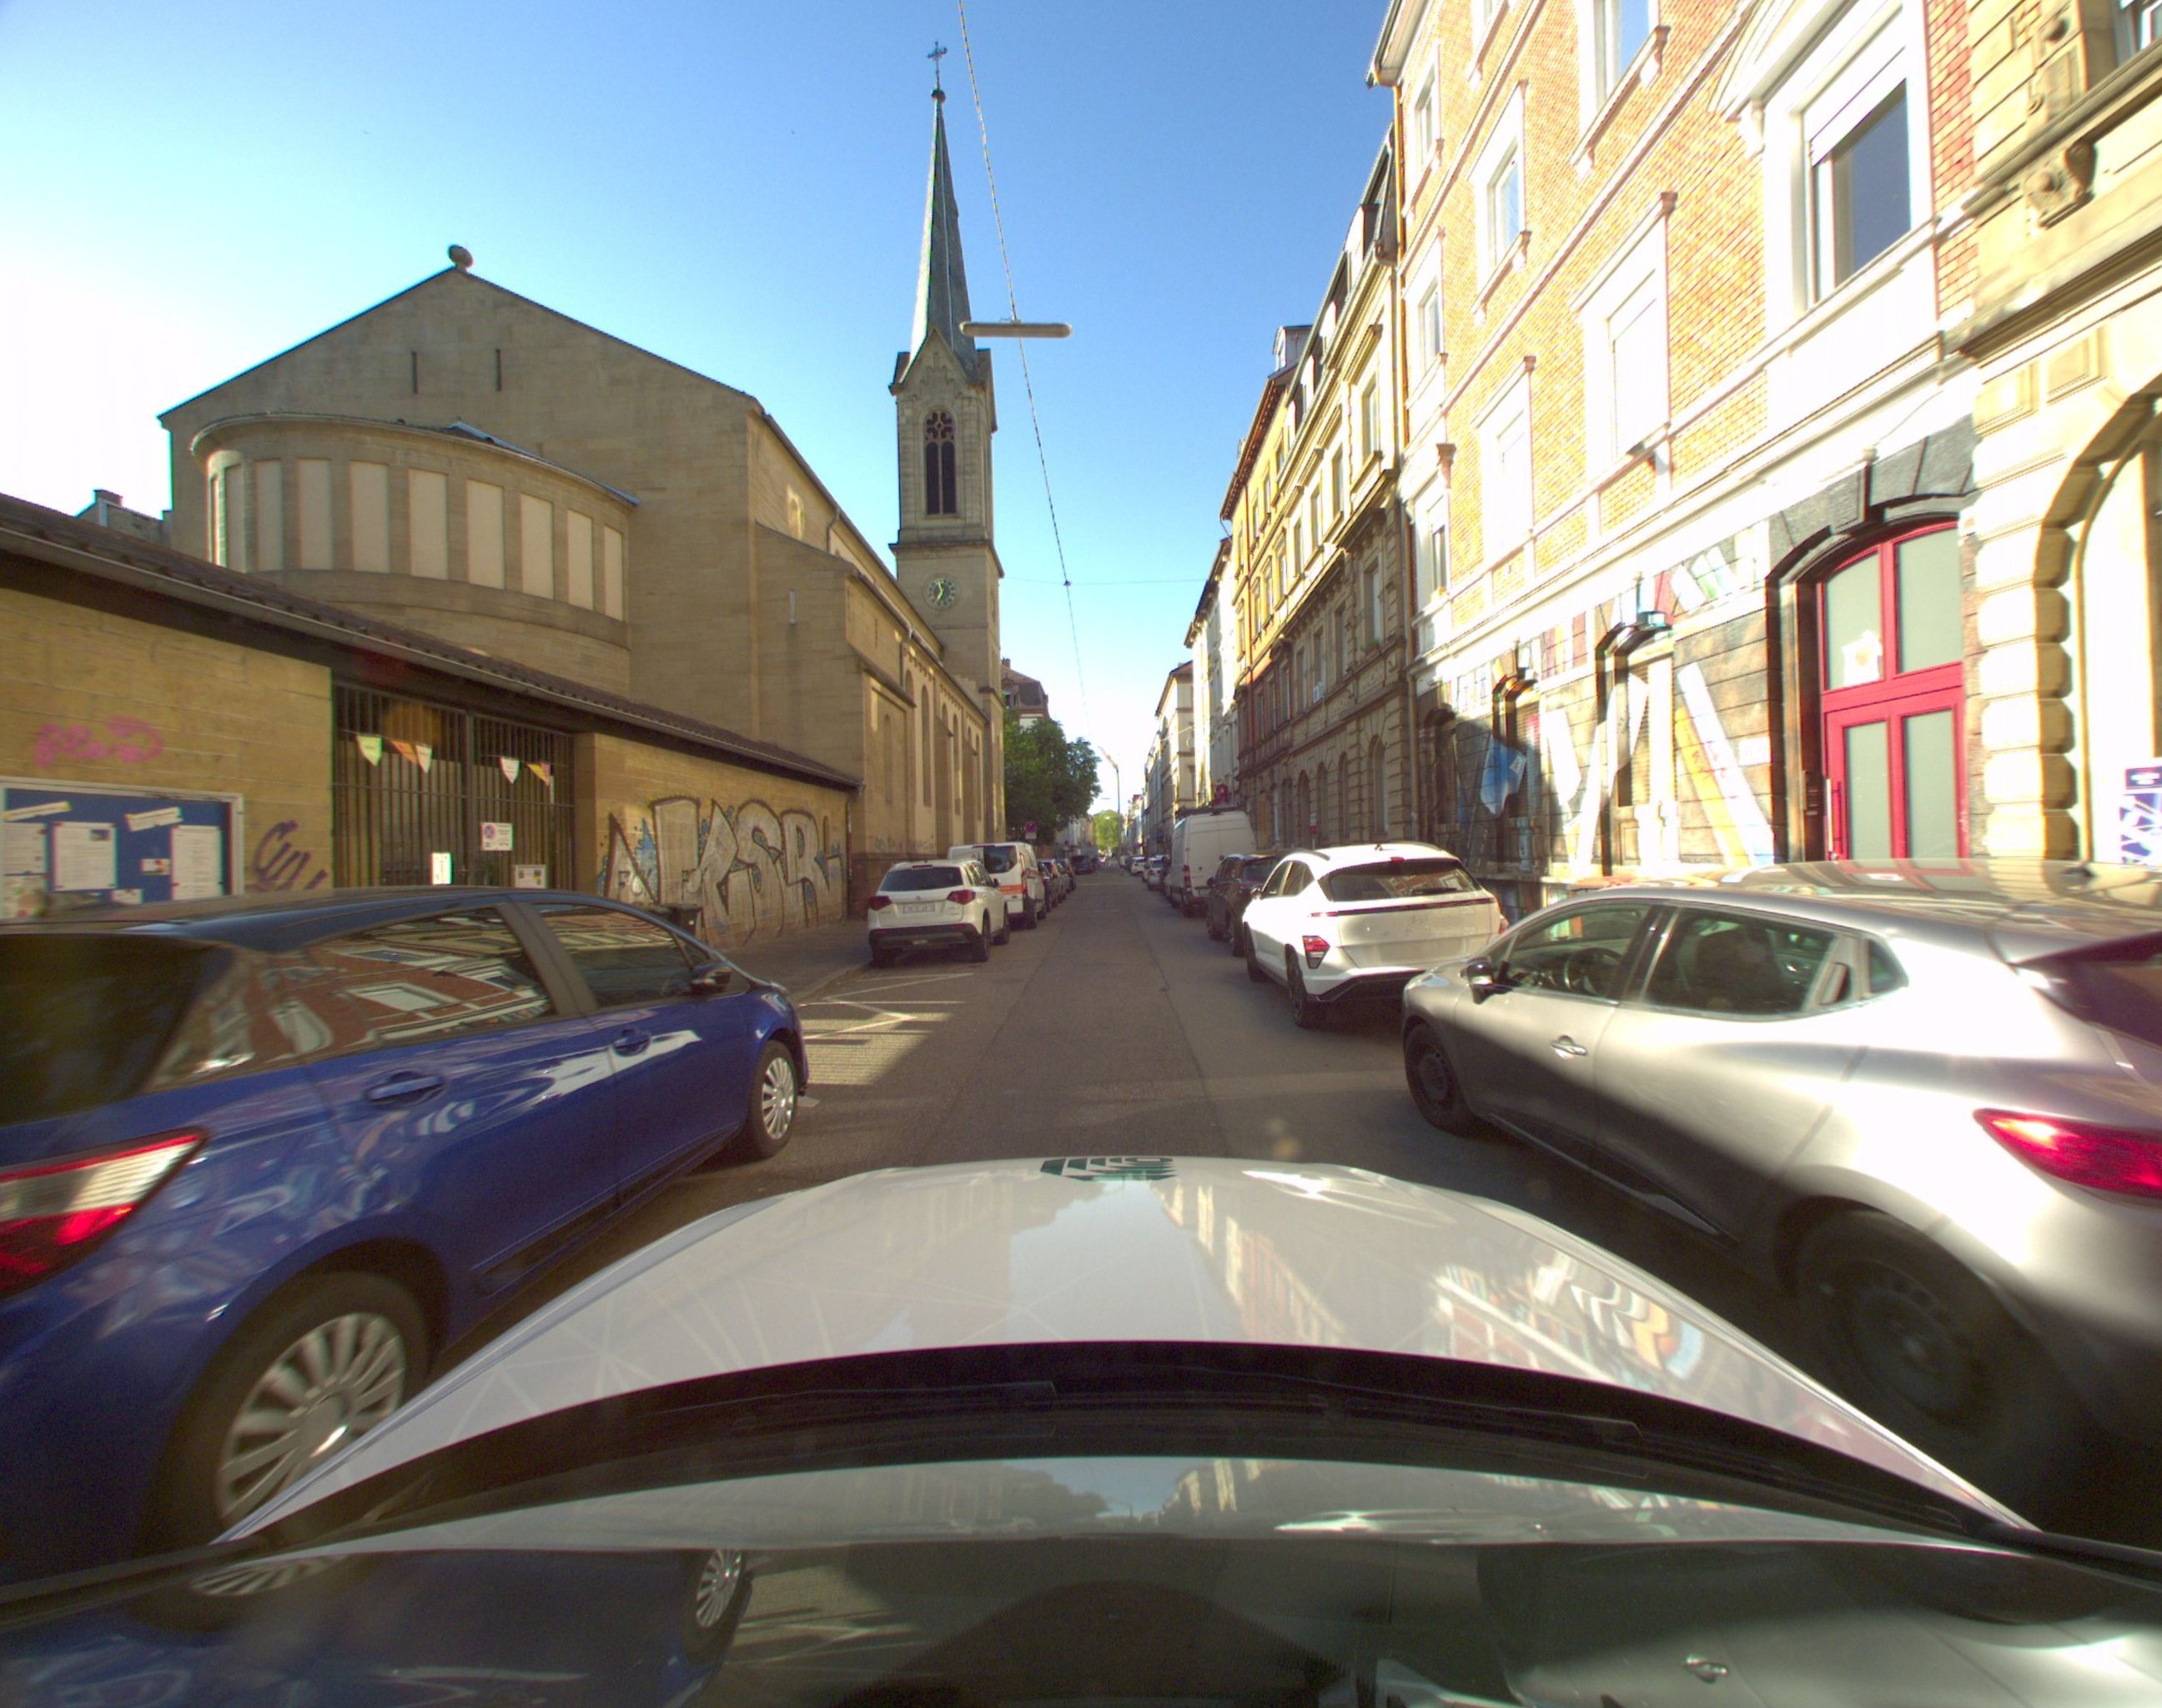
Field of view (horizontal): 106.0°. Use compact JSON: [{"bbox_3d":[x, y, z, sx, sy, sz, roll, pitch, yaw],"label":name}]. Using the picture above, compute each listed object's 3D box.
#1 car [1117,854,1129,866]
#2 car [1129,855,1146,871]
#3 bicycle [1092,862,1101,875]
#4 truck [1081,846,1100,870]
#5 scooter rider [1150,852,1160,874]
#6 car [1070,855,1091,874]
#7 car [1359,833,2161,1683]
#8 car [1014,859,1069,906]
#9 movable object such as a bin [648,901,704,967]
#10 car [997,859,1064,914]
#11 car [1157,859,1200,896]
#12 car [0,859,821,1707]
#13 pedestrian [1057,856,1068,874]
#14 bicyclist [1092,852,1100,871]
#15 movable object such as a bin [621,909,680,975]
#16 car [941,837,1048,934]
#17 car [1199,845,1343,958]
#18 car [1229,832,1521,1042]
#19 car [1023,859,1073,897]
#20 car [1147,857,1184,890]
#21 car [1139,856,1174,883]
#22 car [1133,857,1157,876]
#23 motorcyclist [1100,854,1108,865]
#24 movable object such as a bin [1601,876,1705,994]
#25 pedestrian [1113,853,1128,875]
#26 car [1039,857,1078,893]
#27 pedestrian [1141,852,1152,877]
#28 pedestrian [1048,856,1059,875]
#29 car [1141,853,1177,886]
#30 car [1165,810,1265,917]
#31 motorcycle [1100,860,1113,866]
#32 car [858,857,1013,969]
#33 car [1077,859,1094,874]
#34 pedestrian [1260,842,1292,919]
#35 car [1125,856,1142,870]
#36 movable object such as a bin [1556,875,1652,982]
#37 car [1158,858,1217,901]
[{"bbox_3d":[7.458,1.055,144.179,1.986,2.014,4.002,-2,0,2],"label":"car"},{"bbox_3d":[6.082,0.952,88.148,1.762,1.741,4.002,-2,0,2],"label":"car"},{"bbox_3d":[1.345,1.275,71.308,0.736,1.043,1.860,-2,0,2],"label":"bicycle"},{"bbox_3d":[1.404,0.579,118.172,2.522,3.282,6.998,-2,0,2],"label":"truck"},{"bbox_3d":[5.577,0.661,61.572,0.646,1.642,0.685,-2,-1,8],"label":"scooter rider"},{"bbox_3d":[-0.042,0.998,79.778,1.868,1.796,4.002,-2,0,2],"label":"car"},{"bbox_3d":[2.677,0.745,3.446,1.568,1.525,3.905,1,0,-2],"label":"car"},{"bbox_3d":[-1.390,0.993,30.116,1.667,1.558,4.001,-3,0,1],"label":"car"},{"bbox_3d":[-5.742,1.123,11.560,0.480,0.876,0.571,-1,-1,2],"label":"movable object such as a bin"},{"bbox_3d":[-1.481,0.945,25.160,1.609,1.452,3.952,-3,0,2],"label":"car"},{"bbox_3d":[4.072,0.949,34.342,1.563,1.495,3.656,0,0,3],"label":"car"},{"bbox_3d":[-2.521,0.817,3.025,1.681,1.477,3.862,-3,0,2],"label":"car"},{"bbox_3d":[-1.653,0.974,73.573,0.925,1.637,0.807,-2,-1,3],"label":"pedestrian"},{"bbox_3d":[1.302,0.650,71.273,0.603,1.688,0.885,-2,-1,2],"label":"bicyclist"},{"bbox_3d":[-5.729,1.163,10.853,0.451,0.807,0.591,-1,0,2],"label":"movable object such as a bin"},{"bbox_3d":[-1.925,0.684,19.526,1.857,1.957,4.612,-3,0,2],"label":"car"},{"bbox_3d":[3.104,0.709,14.077,1.681,1.642,3.926,-1,0,2],"label":"car"},{"bbox_3d":[2.766,0.694,8.729,1.800,1.690,4.217,0,-1,3],"label":"car"},{"bbox_3d":[-1.366,0.995,35.221,1.563,1.398,3.813,-5,-1,5],"label":"car"},{"bbox_3d":[4.002,0.895,39.095,1.597,1.505,4.004,0,0,3],"label":"car"},{"bbox_3d":[4.549,0.925,49.574,1.711,1.488,3.868,-2,0,-1],"label":"car"},{"bbox_3d":[5.285,1.032,67.646,1.890,1.488,3.872,-2,0,2],"label":"car"},{"bbox_3d":[4.382,1.105,154.735,0.908,2.014,1.178,-1,-1,-33],"label":"motorcyclist"},{"bbox_3d":[5.585,0.766,7.957,0.551,1.052,0.597,-4,0,-31],"label":"movable object such as a bin"},{"bbox_3d":[3.332,0.838,68.967,1.015,1.843,0.777,-1,0,-31],"label":"pedestrian"},{"bbox_3d":[-1.084,1.024,40.669,1.594,1.614,3.809,-4,-1,1],"label":"car"},{"bbox_3d":[5.053,0.804,62.613,0.681,1.843,0.692,-1,0,-9],"label":"pedestrian"},{"bbox_3d":[-2.572,1.057,76.068,0.925,1.786,0.807,-2,-1,3],"label":"pedestrian"},{"bbox_3d":[4.235,0.824,44.677,1.710,1.645,4.002,-2,0,2],"label":"car"},{"bbox_3d":[3.615,0.247,23.097,2.060,2.611,5.891,-1,0,2],"label":"car"},{"bbox_3d":[4.807,1.728,154.119,1.049,0.980,2.796,-1,0,-32],"label":"motorcycle"},{"bbox_3d":[-2.260,0.863,13.695,1.735,1.586,3.871,-1,0,2],"label":"car"},{"bbox_3d":[0.594,1.504,101.779,1.868,1.796,4.002,-2,0,2],"label":"car"},{"bbox_3d":[4.612,0.613,19.237,0.634,1.772,0.682,0,-1,21],"label":"pedestrian"},{"bbox_3d":[6.570,1.083,101.708,1.986,1.632,4.002,1,0,2],"label":"car"},{"bbox_3d":[5.599,0.774,8.742,0.548,1.052,0.601,-4,0,-11],"label":"movable object such as a bin"},{"bbox_3d":[3.853,0.881,29.946,1.772,1.486,4.362,0,0,2],"label":"car"}]
